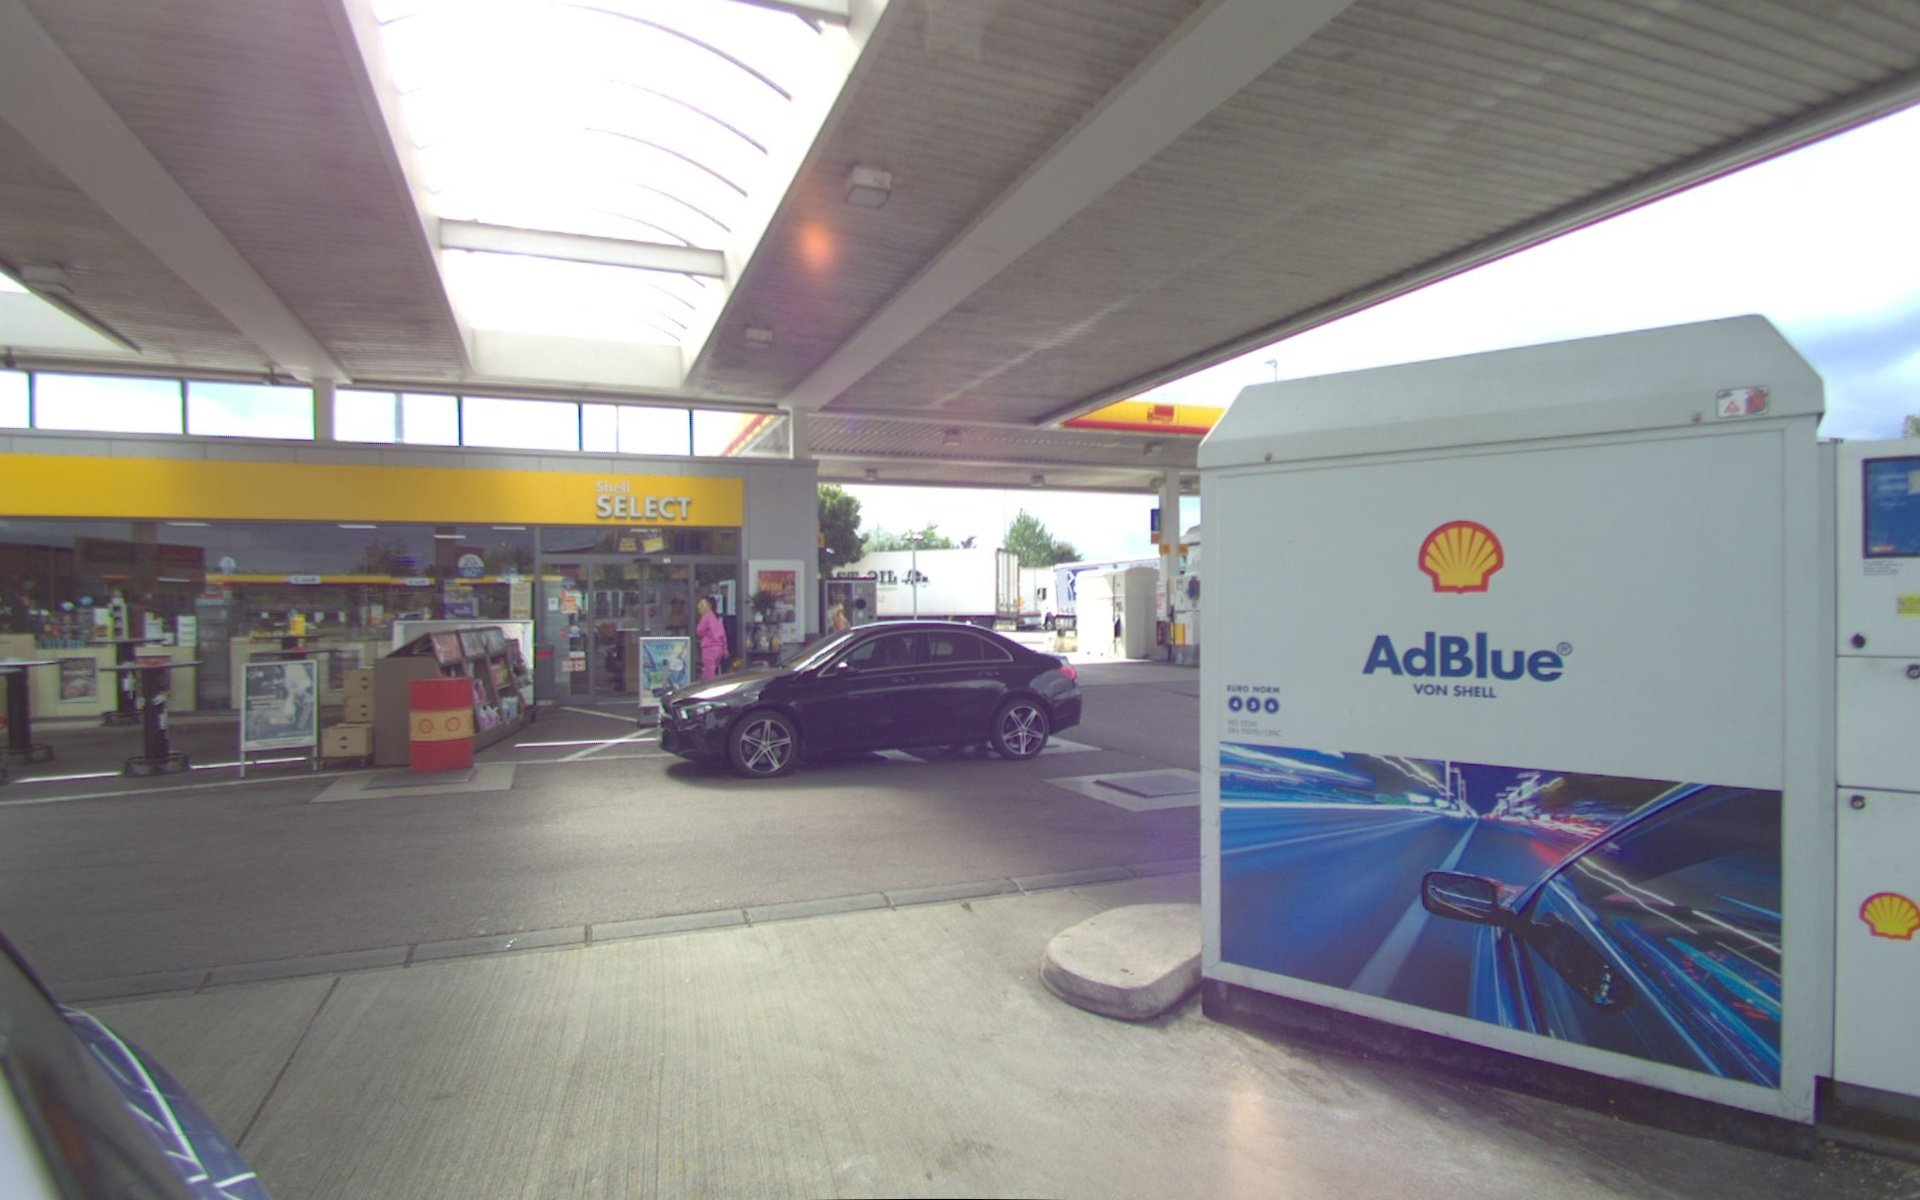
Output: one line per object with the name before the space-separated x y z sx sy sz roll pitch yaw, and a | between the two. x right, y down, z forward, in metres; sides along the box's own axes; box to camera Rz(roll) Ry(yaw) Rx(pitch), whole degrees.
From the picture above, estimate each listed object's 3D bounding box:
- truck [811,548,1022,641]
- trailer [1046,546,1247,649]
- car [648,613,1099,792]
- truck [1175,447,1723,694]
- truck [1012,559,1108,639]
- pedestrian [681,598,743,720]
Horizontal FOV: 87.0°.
truck | -2.098 -0.193 46.845 9.536 4.036 2.772 -1 0 25
trailer | 9.109 -0.115 52.680 3.294 4.600 14.397 -1 0 -20
car | -0.915 0.936 10.684 4.394 1.511 1.785 -1 0 -21
truck | 9.663 -0.474 23.108 2.491 4.069 12.947 -1 0 -22
truck | 5.931 -0.065 61.227 3.333 4.538 6.249 -1 0 -20
pedestrian | -3.623 0.839 14.765 0.622 1.726 0.619 -1 0 40
